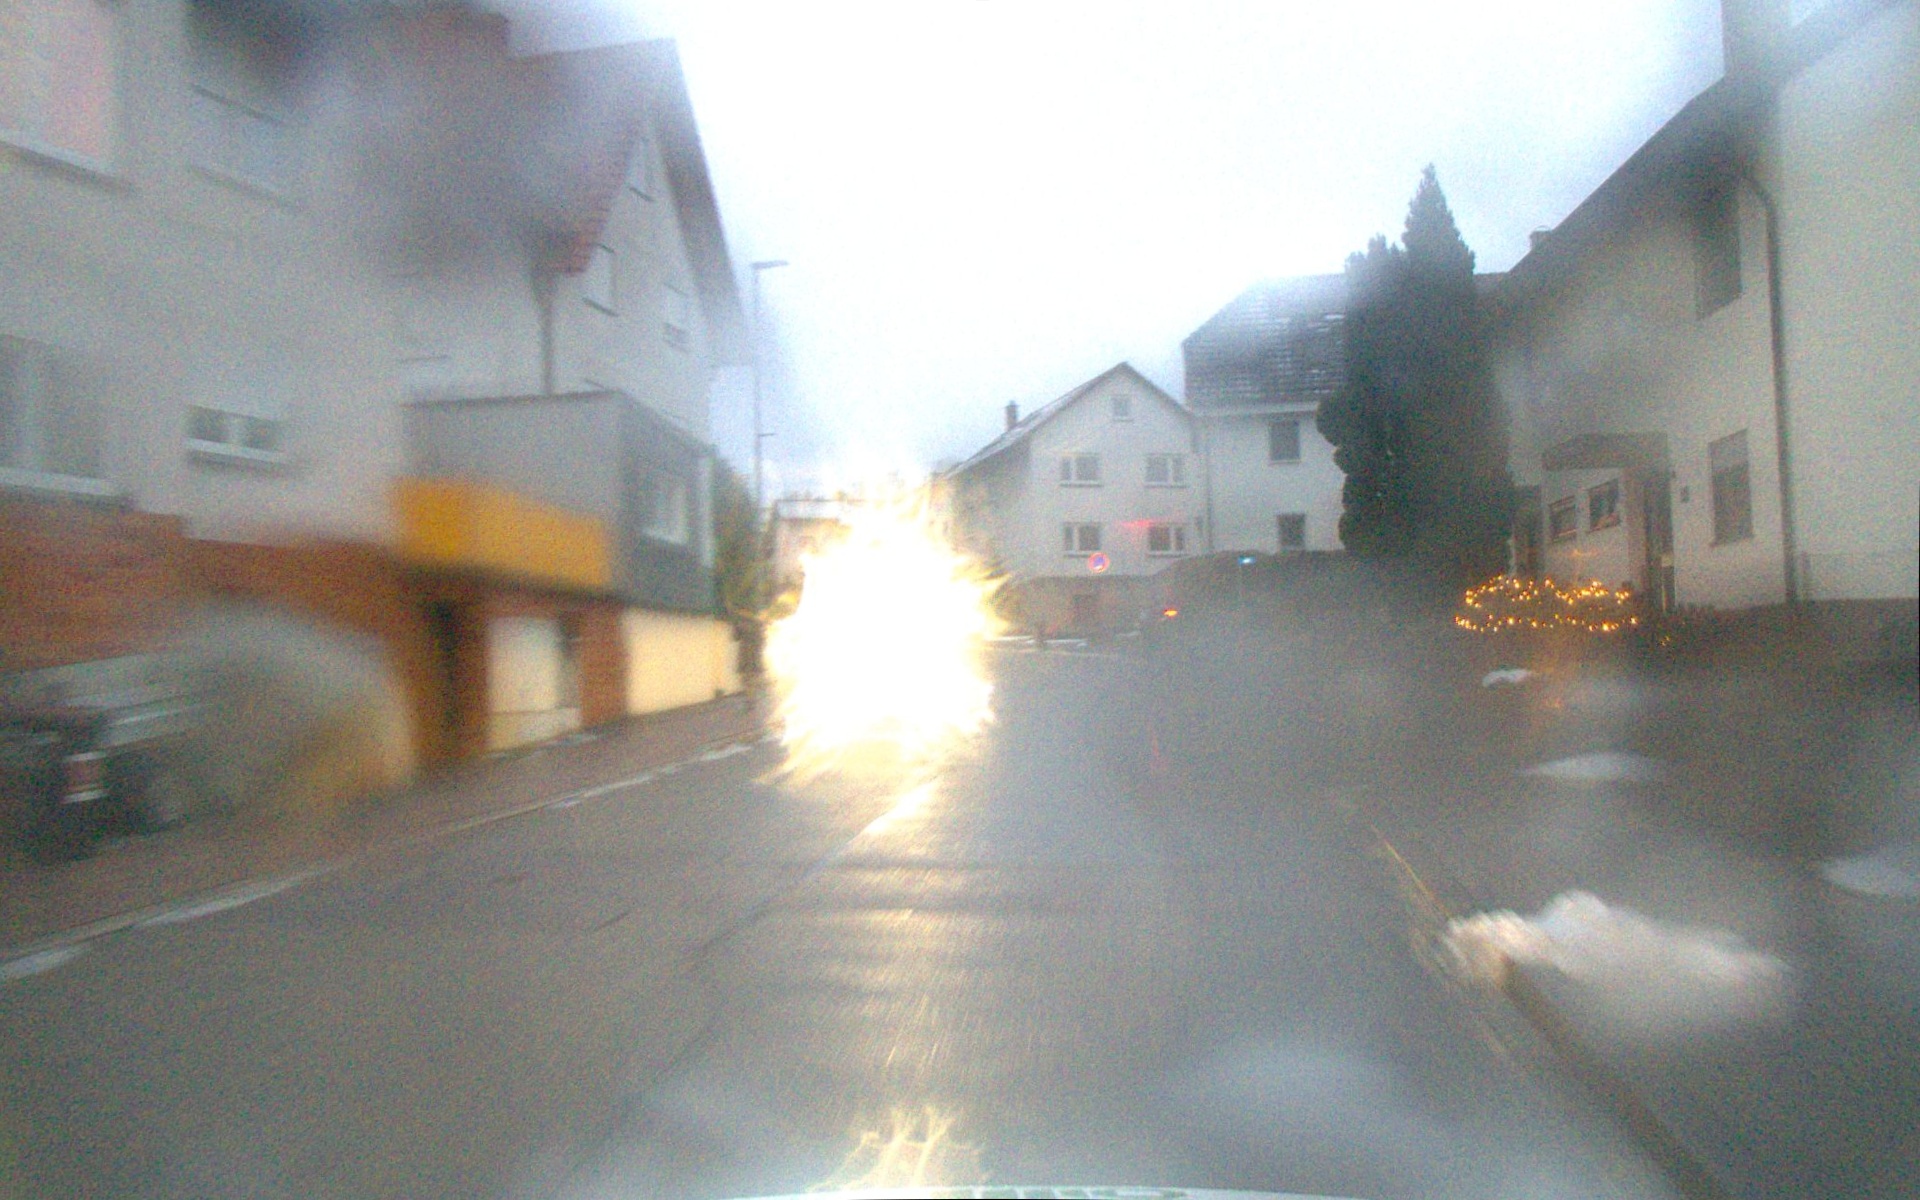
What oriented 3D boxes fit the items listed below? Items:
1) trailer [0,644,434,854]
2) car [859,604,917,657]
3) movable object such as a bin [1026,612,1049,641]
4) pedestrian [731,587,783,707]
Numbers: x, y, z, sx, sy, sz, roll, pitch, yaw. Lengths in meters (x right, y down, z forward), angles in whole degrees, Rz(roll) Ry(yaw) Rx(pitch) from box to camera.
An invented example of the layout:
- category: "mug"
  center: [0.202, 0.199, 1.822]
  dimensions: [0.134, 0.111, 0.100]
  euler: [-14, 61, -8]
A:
- category: "trailer"
  center: [-6.175, 0.975, 12.622]
  dimensions: [2.014, 1.189, 4.872]
  euler: [0, -1, 11]
- category: "car"
  center: [-2.962, 1.238, 68.955]
  dimensions: [2.067, 2.062, 4.982]
  euler: [-2, 0, 0]
- category: "movable object such as a bin"
  center: [2.581, 0.886, 54.846]
  dimensions: [0.625, 0.933, 0.684]
  euler: [-1, -1, -9]
- category: "pedestrian"
  center: [-3.037, 0.706, 24.762]
  dimensions: [0.585, 1.763, 0.812]
  euler: [0, -2, 7]
